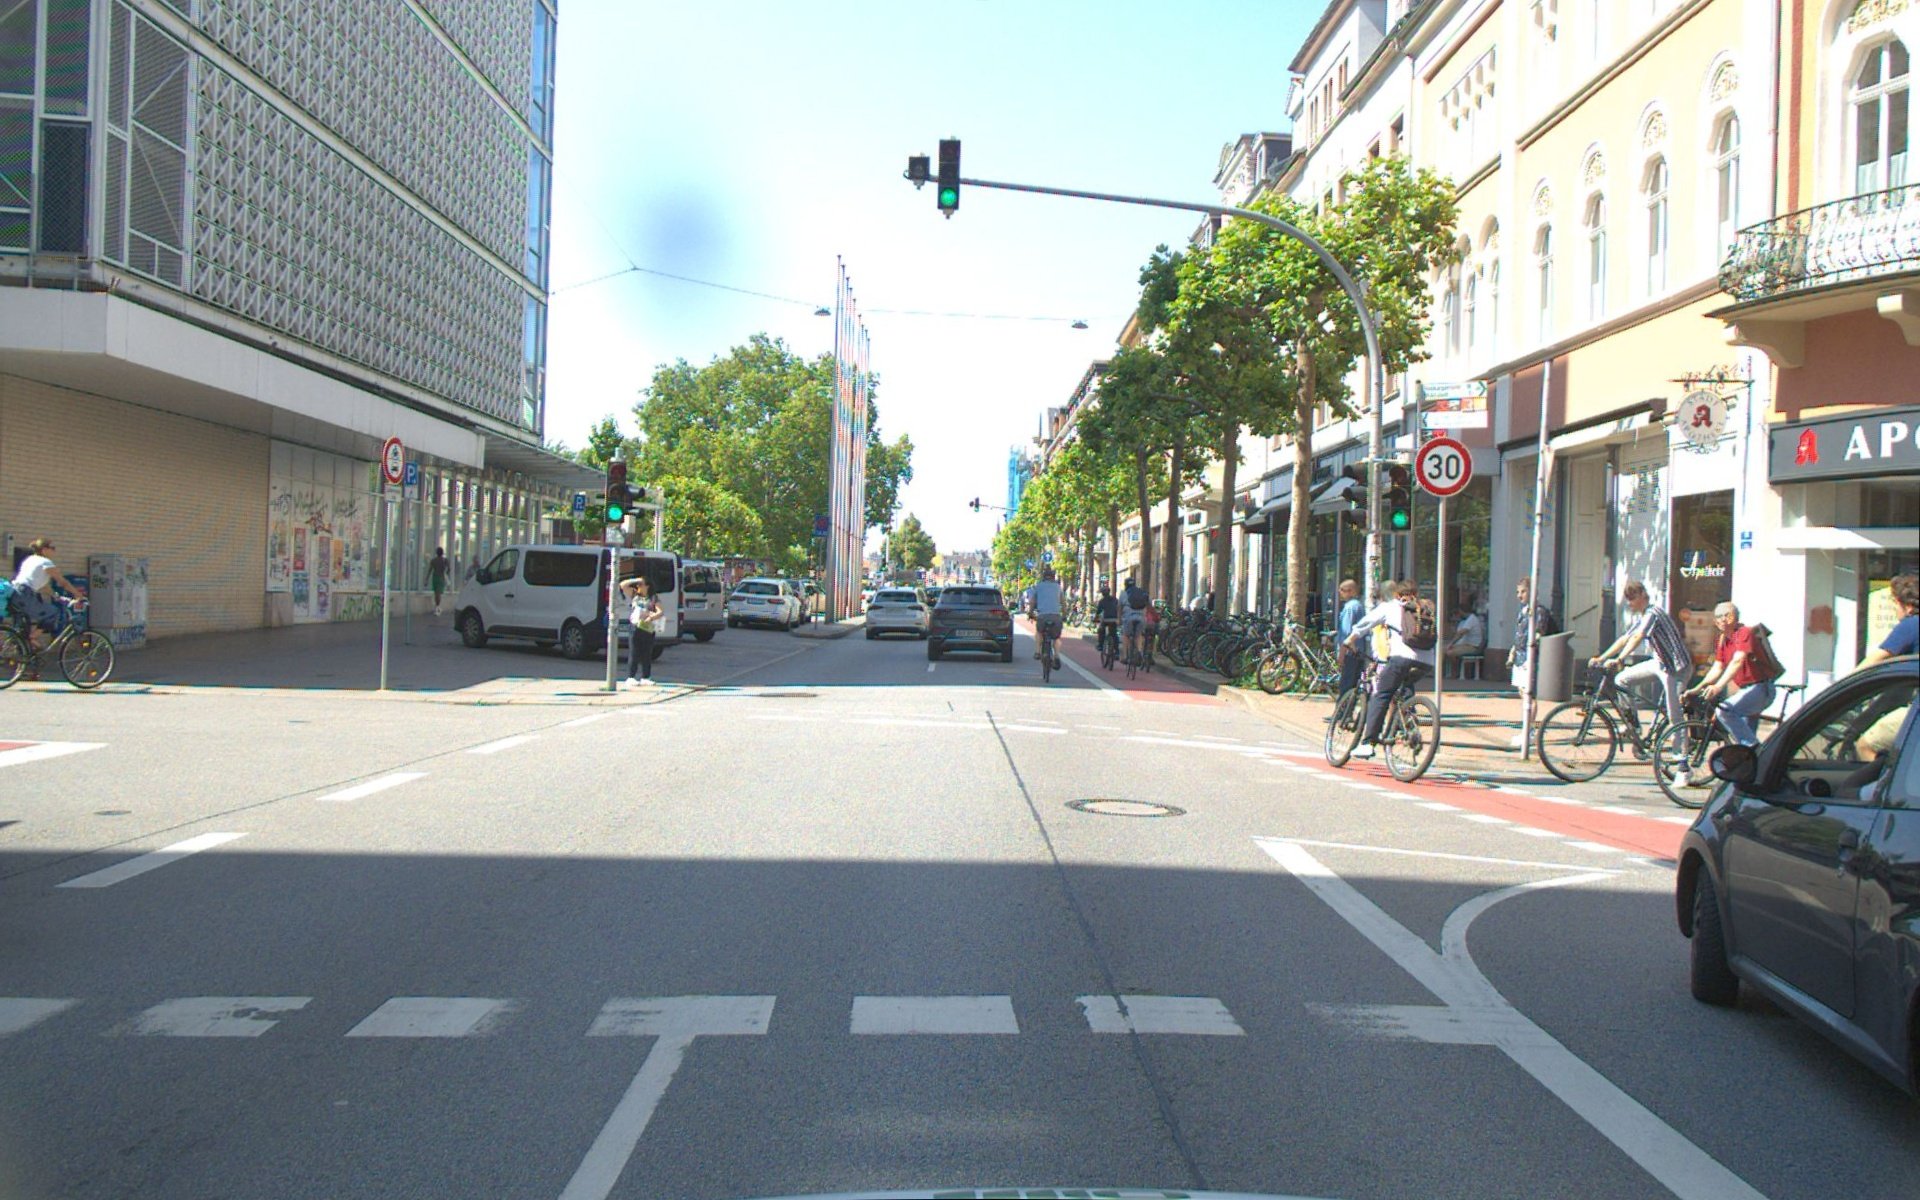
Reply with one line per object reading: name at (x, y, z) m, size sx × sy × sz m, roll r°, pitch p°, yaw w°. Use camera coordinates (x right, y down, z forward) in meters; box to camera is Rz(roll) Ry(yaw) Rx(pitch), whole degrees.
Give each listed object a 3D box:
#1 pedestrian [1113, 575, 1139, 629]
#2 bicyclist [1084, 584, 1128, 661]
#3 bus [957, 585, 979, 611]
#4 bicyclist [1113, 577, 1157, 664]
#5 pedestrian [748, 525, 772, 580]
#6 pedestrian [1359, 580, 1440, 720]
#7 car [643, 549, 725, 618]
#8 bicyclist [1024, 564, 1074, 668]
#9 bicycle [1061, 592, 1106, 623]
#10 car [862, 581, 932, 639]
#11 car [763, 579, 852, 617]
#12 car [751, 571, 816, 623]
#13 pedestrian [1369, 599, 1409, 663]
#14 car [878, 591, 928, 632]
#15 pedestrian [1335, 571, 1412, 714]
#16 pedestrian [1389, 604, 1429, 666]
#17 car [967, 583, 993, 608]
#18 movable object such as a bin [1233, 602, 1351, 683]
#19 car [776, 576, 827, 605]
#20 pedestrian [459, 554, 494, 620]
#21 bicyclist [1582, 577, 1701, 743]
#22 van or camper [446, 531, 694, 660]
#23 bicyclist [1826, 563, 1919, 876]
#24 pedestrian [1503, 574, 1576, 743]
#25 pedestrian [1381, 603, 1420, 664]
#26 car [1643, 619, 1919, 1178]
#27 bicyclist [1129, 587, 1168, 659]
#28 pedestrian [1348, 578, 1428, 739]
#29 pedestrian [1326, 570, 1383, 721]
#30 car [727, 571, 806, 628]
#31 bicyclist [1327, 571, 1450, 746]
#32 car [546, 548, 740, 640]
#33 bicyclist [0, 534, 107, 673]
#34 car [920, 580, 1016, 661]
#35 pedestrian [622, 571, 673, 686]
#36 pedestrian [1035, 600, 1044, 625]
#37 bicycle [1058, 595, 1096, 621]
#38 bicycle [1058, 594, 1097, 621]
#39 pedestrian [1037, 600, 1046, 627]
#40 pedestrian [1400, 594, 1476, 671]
pedestrian at (5.507, 0.063, 54.886) m, size 0.626 × 1.718 × 0.843 m, roll 4°, pitch 1°, yaw -3°
bicyclist at (2.875, 0.430, 32.677) m, size 0.684 × 1.465 × 0.790 m, roll 3°, pitch 0°, yaw -4°
bus at (1.199, -0.334, 244.790) m, size 2.934 × 3.657 × 11.742 m, roll 2°, pitch 0°, yaw -1°
bicyclist at (3.115, 0.349, 29.550) m, size 0.617 × 1.507 × 1.198 m, roll 2°, pitch 0°, yaw -1°
pedestrian at (-6.708, -1.592, 55.478) m, size 0.522 × 1.824 × 0.536 m, roll 2°, pitch -1°, yaw 39°
pedestrian at (5.583, 0.627, 21.055) m, size 0.771 × 1.720 × 0.641 m, roll 3°, pitch 1°, yaw -3°
car at (-8.845, -0.524, 53.375) m, size 1.794 × 2.049 × 4.685 m, roll 2°, pitch 0°, yaw 0°
bicyclist at (1.466, 0.254, 27.361) m, size 0.758 × 1.664 × 0.851 m, roll 1°, pitch 0°, yaw 0°
bicycle at (5.365, 0.304, 71.802) m, size 1.891 × 1.270 × 0.736 m, roll 2°, pitch 0°, yaw 2°
car at (-1.767, 0.255, 47.458) m, size 1.808 × 1.587 × 4.000 m, roll 1°, pitch 0°, yaw 0°
car at (-7.041, -0.131, 76.950) m, size 1.854 × 1.568 × 4.857 m, roll 3°, pitch 2°, yaw 26°
car at (-5.900, -0.124, 55.717) m, size 1.725 × 1.628 × 4.709 m, roll 2°, pitch 0°, yaw -1°
pedestrian at (9.327, 0.676, 35.989) m, size 0.667 × 1.356 × 0.531 m, roll 2°, pitch 0°, yaw -3°
car at (-2.139, 0.403, 63.372) m, size 1.808 × 1.474 × 3.999 m, roll 1°, pitch 0°, yaw -1°
pedestrian at (5.443, 0.553, 21.798) m, size 0.771 × 1.826 × 0.641 m, roll 2°, pitch 1°, yaw -3°
pedestrian at (9.291, 0.724, 34.249) m, size 0.626 × 1.275 × 0.608 m, roll 0°, pitch -1°, yaw -3°
car at (1.473, -0.355, 122.492) m, size 1.808 × 1.697 × 4.000 m, roll 3°, pitch 0°, yaw -1°
movable object such as a bin at (5.488, 0.690, 27.333) m, size 1.812 × 1.209 × 0.653 m, roll 4°, pitch 1°, yaw 15°
car at (-11.759, -0.675, 123.111) m, size 1.821 × 1.989 × 4.761 m, roll 2°, pitch 0°, yaw 21°
pedestrian at (-11.757, -0.313, 40.212) m, size 0.665 × 1.586 × 0.640 m, roll 1°, pitch 0°, yaw -5°
bicyclist at (6.071, 0.526, 14.758) m, size 0.841 × 1.436 × 0.501 m, roll 1°, pitch 0°, yaw 0°
van or camper at (-7.160, -0.110, 30.130) m, size 4.574 × 2.048 × 1.990 m, roll 4°, pitch 1°, yaw 40°
bicyclist at (5.480, 0.656, 9.395) m, size 0.715 × 1.702 × 0.775 m, roll 1°, pitch 0°, yaw 2°
pedestrian at (6.643, 0.657, 18.998) m, size 0.625 × 1.875 × 0.615 m, roll 3°, pitch 0°, yaw 12°
pedestrian at (9.277, 0.700, 34.847) m, size 0.667 × 1.275 × 0.531 m, roll 0°, pitch 1°, yaw -3°
car at (3.550, 0.852, 5.345) m, size 1.594 × 1.504 × 3.734 m, roll 2°, pitch -1°, yaw 9°
bicyclist at (3.729, 0.458, 32.703) m, size 0.588 × 1.381 × 0.720 m, roll 3°, pitch -1°, yaw -4°
pedestrian at (4.710, 0.638, 18.256) m, size 0.626 × 1.739 × 0.789 m, roll 0°, pitch -2°, yaw -4°
pedestrian at (4.895, 0.551, 20.540) m, size 0.443 × 1.826 × 0.607 m, roll 3°, pitch 0°, yaw -3°
car at (-5.793, -0.055, 49.920) m, size 1.762 × 1.549 × 4.739 m, roll 3°, pitch 1°, yaw 0°
bicyclist at (3.782, 0.499, 14.660) m, size 0.685 × 1.471 × 0.959 m, roll 3°, pitch 0°, yaw -7°
car at (-7.392, -0.164, 38.409) m, size 4.359 × 1.942 × 2.001 m, roll 3°, pitch 1°, yaw 37°
bicyclist at (-10.714, 0.034, 19.358) m, size 0.721 × 1.566 × 1.073 m, roll 1°, pitch 1°, yaw 36°
car at (0.109, 0.390, 34.749) m, size 1.808 × 1.586 × 3.998 m, roll 1°, pitch 0°, yaw -2°
pedestrian at (-4.482, 0.402, 23.690) m, size 0.628 × 1.586 × 0.679 m, roll 3°, pitch 1°, yaw -12°
pedestrian at (4.981, 0.777, 103.348) m, size 0.512 × 1.548 × 0.642 m, roll 0°, pitch -1°, yaw 3°
bicycle at (5.292, 0.368, 74.969) m, size 1.692 × 1.128 × 0.477 m, roll 2°, pitch 0°, yaw 2°
bicycle at (5.283, 0.326, 74.135) m, size 1.692 × 1.128 × 0.402 m, roll 2°, pitch 0°, yaw 2°
pedestrian at (4.993, 0.833, 101.126) m, size 0.537 × 1.659 × 0.589 m, roll 0°, pitch -1°, yaw 3°
pedestrian at (9.256, 0.630, 32.069) m, size 1.208 × 1.447 × 0.789 m, roll 1°, pitch -1°, yaw -3°
